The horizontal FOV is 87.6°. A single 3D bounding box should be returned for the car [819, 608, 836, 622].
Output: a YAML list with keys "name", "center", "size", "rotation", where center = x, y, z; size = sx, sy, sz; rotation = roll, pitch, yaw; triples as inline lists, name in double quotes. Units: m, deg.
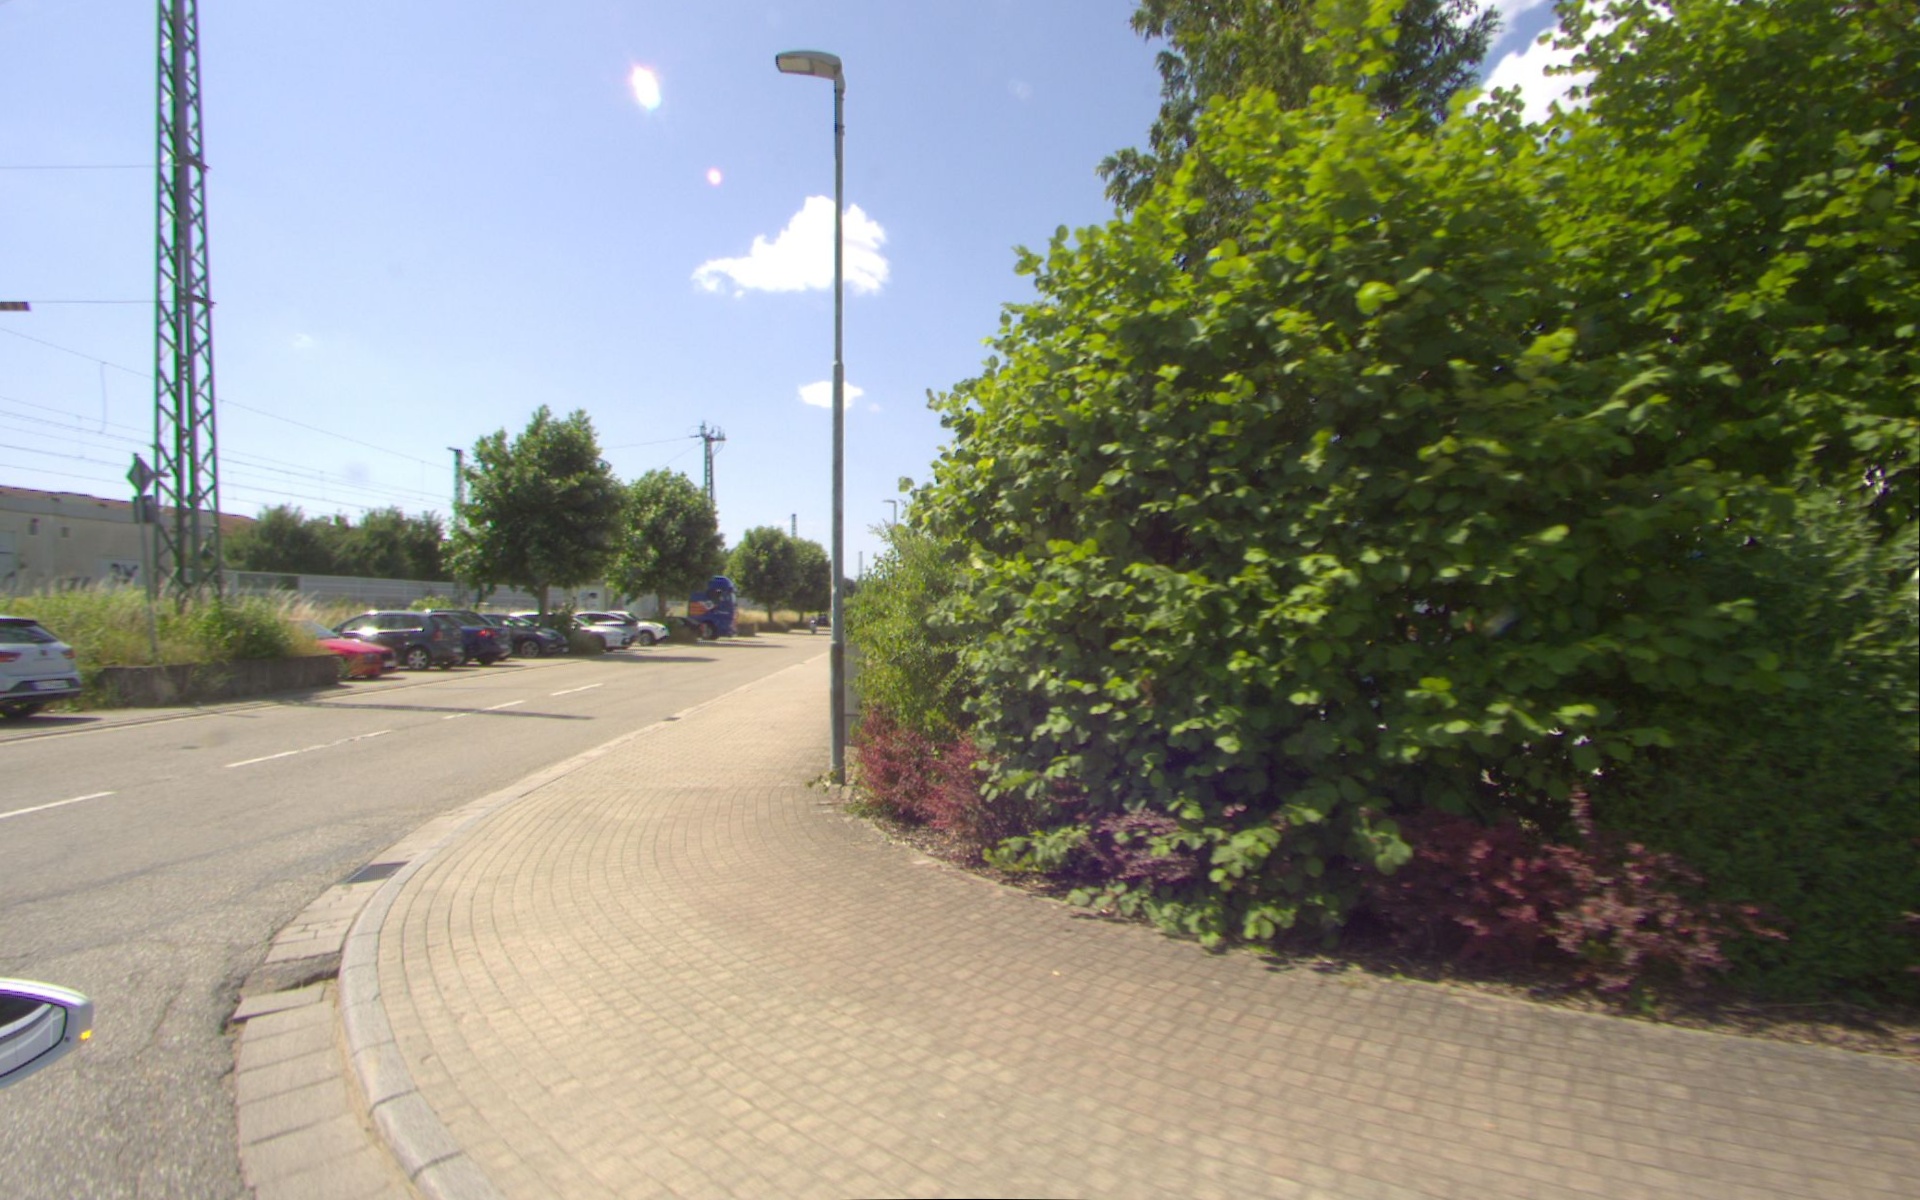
- name: "car"
  center: [-15.662, 1.734, 118.317]
  size: [1.713, 1.617, 3.579]
  rotation: [1, 0, -3]

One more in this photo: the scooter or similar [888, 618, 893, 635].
- name: "scooter or similar"
  center: [-5.065, 1.948, 73.360]
  size: [0.328, 1.213, 0.398]
  rotation: [0, -2, -2]

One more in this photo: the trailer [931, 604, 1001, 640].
- name: "trailer"
  center: [0.329, 1.244, 57.970]
  size: [3.922, 2.040, 2.000]
  rotation: [0, 0, -3]

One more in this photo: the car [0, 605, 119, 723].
- name: "car"
  center: [-13.738, 0.753, 12.996]
  size: [4.007, 1.420, 1.786]
  rotation: [1, 0, -5]

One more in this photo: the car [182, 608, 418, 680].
- name: "car"
  center: [-14.297, 0.932, 21.845]
  size: [4.007, 1.387, 1.673]
  rotation: [1, 1, -2]

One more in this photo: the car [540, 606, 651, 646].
- name: "car"
  center: [-15.155, 1.087, 41.781]
  size: [3.923, 1.568, 2.000]
  rotation: [1, -1, -4]

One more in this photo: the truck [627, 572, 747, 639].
- name: "truck"
  center: [-16.151, 0.347, 59.587]
  size: [6.507, 3.873, 2.664]
  rotation: [0, 0, -4]

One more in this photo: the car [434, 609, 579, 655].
- name: "car"
  center: [-15.033, 1.039, 33.363]
  size: [4.007, 1.492, 1.787]
  rotation: [0, 0, -2]

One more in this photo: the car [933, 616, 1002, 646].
- name: "car"
  center: [0.341, 1.495, 49.242]
  size: [3.298, 1.420, 1.769]
  rotation: [0, 0, -2]

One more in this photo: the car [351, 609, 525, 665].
- name: "car"
  center: [-14.412, 1.007, 27.775]
  size: [3.881, 1.469, 1.787]
  rotation: [0, 0, 2]

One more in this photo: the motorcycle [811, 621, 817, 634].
- name: "motorcycle"
  center: [-12.526, 2.344, 85.948]
  size: [0.456, 1.064, 1.955]
  rotation: [1, -1, -5]

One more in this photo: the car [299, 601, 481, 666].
- name: "car"
  center: [-14.357, 0.839, 25.369]
  size: [3.607, 1.467, 1.684]
  rotation: [2, 0, -4]

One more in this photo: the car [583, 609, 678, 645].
- name: "car"
  center: [-15.408, 1.256, 46.986]
  size: [3.906, 1.639, 1.850]
  rotation: [1, 0, -6]

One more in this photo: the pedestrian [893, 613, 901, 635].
- name: "pedestrian"
  center: [-4.586, 1.766, 73.107]
  size: [0.526, 1.559, 0.511]
  rotation: [0, -2, -3]

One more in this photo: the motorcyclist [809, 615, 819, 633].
- name: "motorcyclist"
  center: [-12.524, 2.035, 86.102]
  size: [0.763, 1.529, 0.921]
  rotation: [1, 0, -4]

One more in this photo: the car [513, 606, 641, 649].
- name: "car"
  center: [-14.895, 1.042, 39.118]
  size: [4.267, 1.553, 1.926]
  rotation: [1, 0, -3]
